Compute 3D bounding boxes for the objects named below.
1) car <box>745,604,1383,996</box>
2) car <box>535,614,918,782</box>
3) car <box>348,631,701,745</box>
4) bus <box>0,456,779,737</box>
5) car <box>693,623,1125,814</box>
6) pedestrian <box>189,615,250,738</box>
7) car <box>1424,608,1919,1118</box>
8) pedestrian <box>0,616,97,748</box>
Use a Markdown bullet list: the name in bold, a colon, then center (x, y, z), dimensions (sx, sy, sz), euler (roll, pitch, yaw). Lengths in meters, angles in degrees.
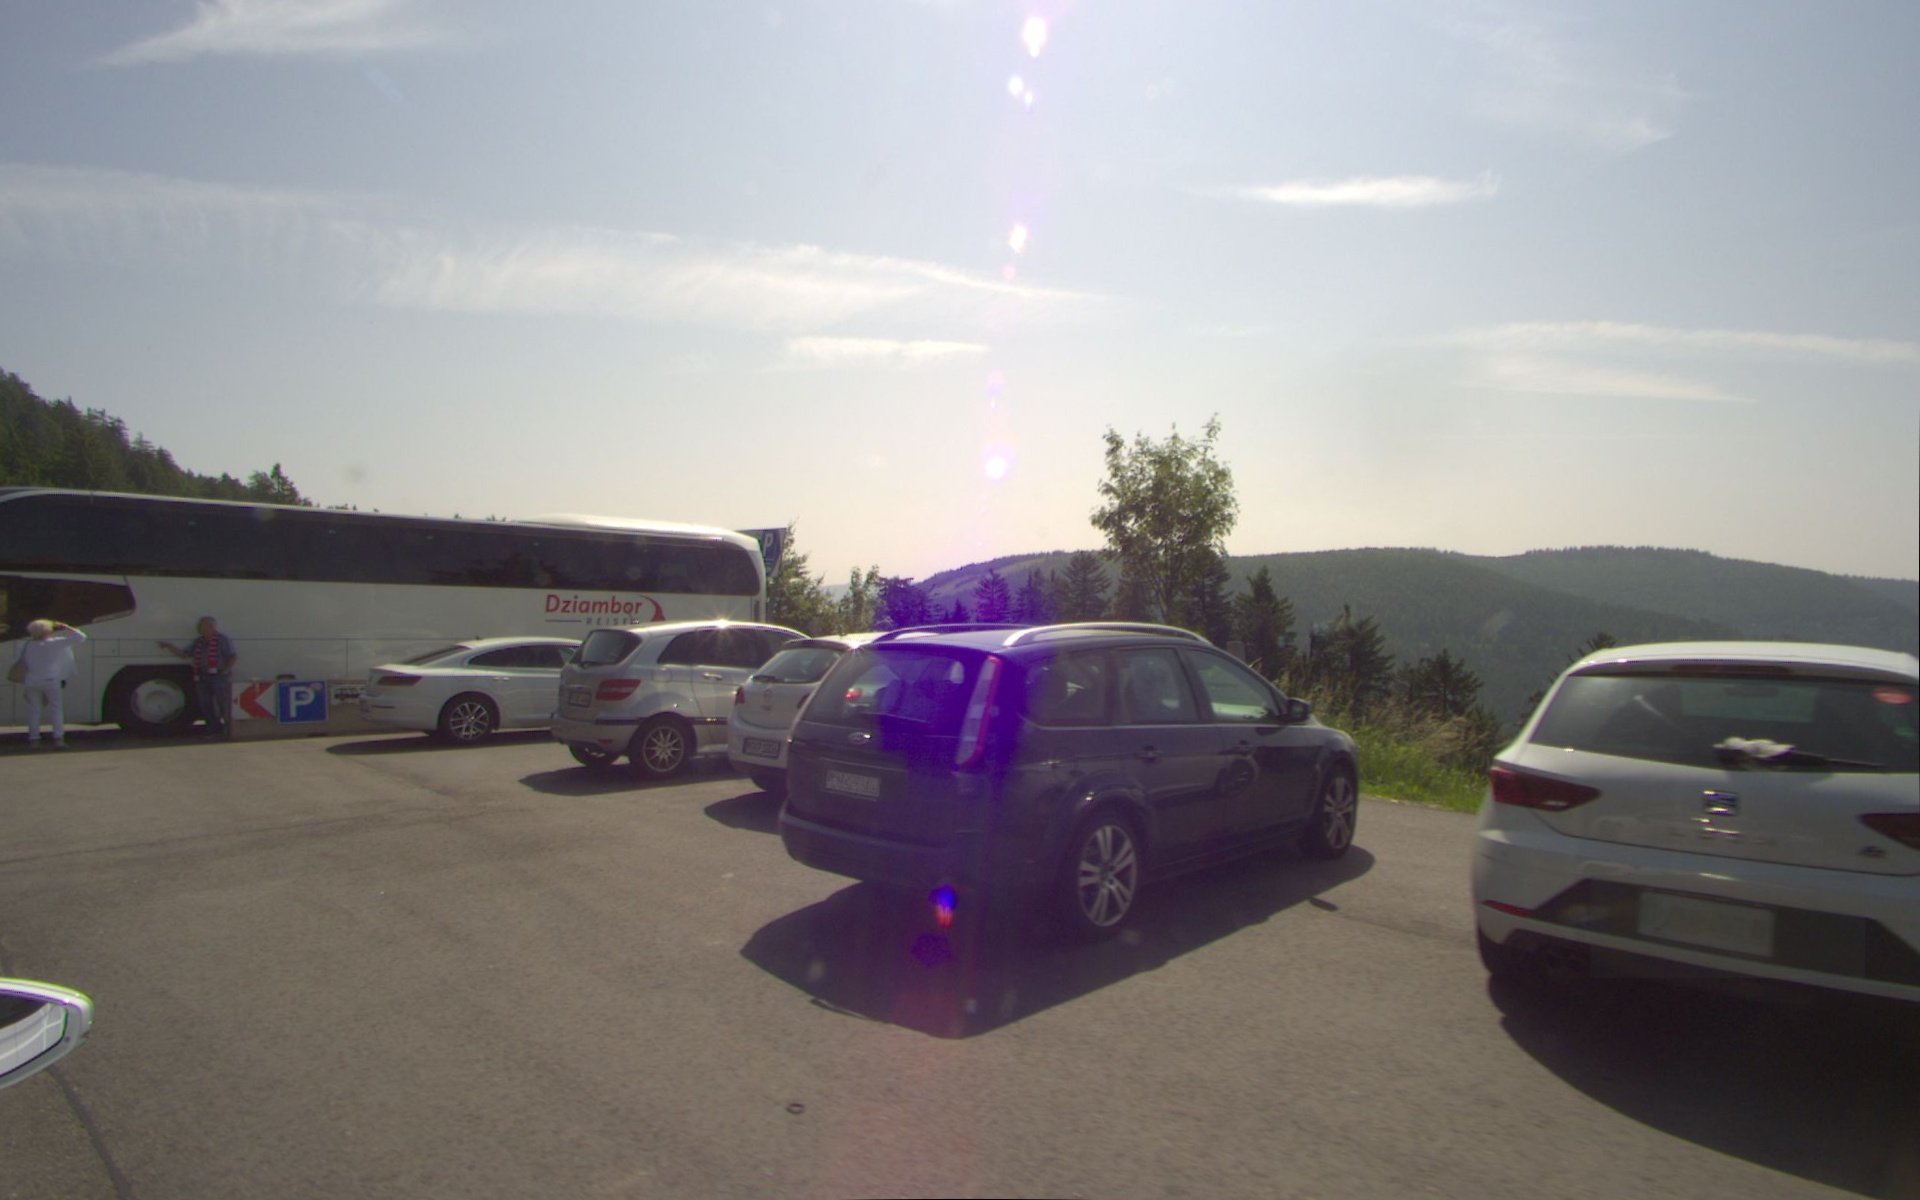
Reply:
- **car**: center (0.913, 0.868, 6.063), dimensions (1.655, 1.564, 4.107), euler (0, -2, 44)
- **car**: center (-2.539, 1.017, 11.519), dimensions (3.963, 1.594, 1.749), euler (3, -3, -44)
- **car**: center (-6.159, 1.186, 14.473), dimensions (4.389, 1.414, 1.704), euler (2, -2, -40)
- **bus**: center (-9.399, 0.088, 17.479), dimensions (12.755, 3.623, 2.813), euler (1, -2, -42)
- **car**: center (-0.324, 0.995, 9.574), dimensions (3.963, 1.437, 1.749), euler (3, -3, -44)
- **pedestrian**: center (-10.430, 1.043, 14.100), dimensions (0.639, 1.664, 0.738), euler (0, 0, -41)
- **car**: center (3.563, 0.864, 4.671), dimensions (1.595, 1.437, 3.868), euler (-2, -4, 40)
- **pedestrian**: center (-11.543, 1.009, 12.703), dimensions (0.635, 1.617, 0.743), euler (0, 0, -17)
